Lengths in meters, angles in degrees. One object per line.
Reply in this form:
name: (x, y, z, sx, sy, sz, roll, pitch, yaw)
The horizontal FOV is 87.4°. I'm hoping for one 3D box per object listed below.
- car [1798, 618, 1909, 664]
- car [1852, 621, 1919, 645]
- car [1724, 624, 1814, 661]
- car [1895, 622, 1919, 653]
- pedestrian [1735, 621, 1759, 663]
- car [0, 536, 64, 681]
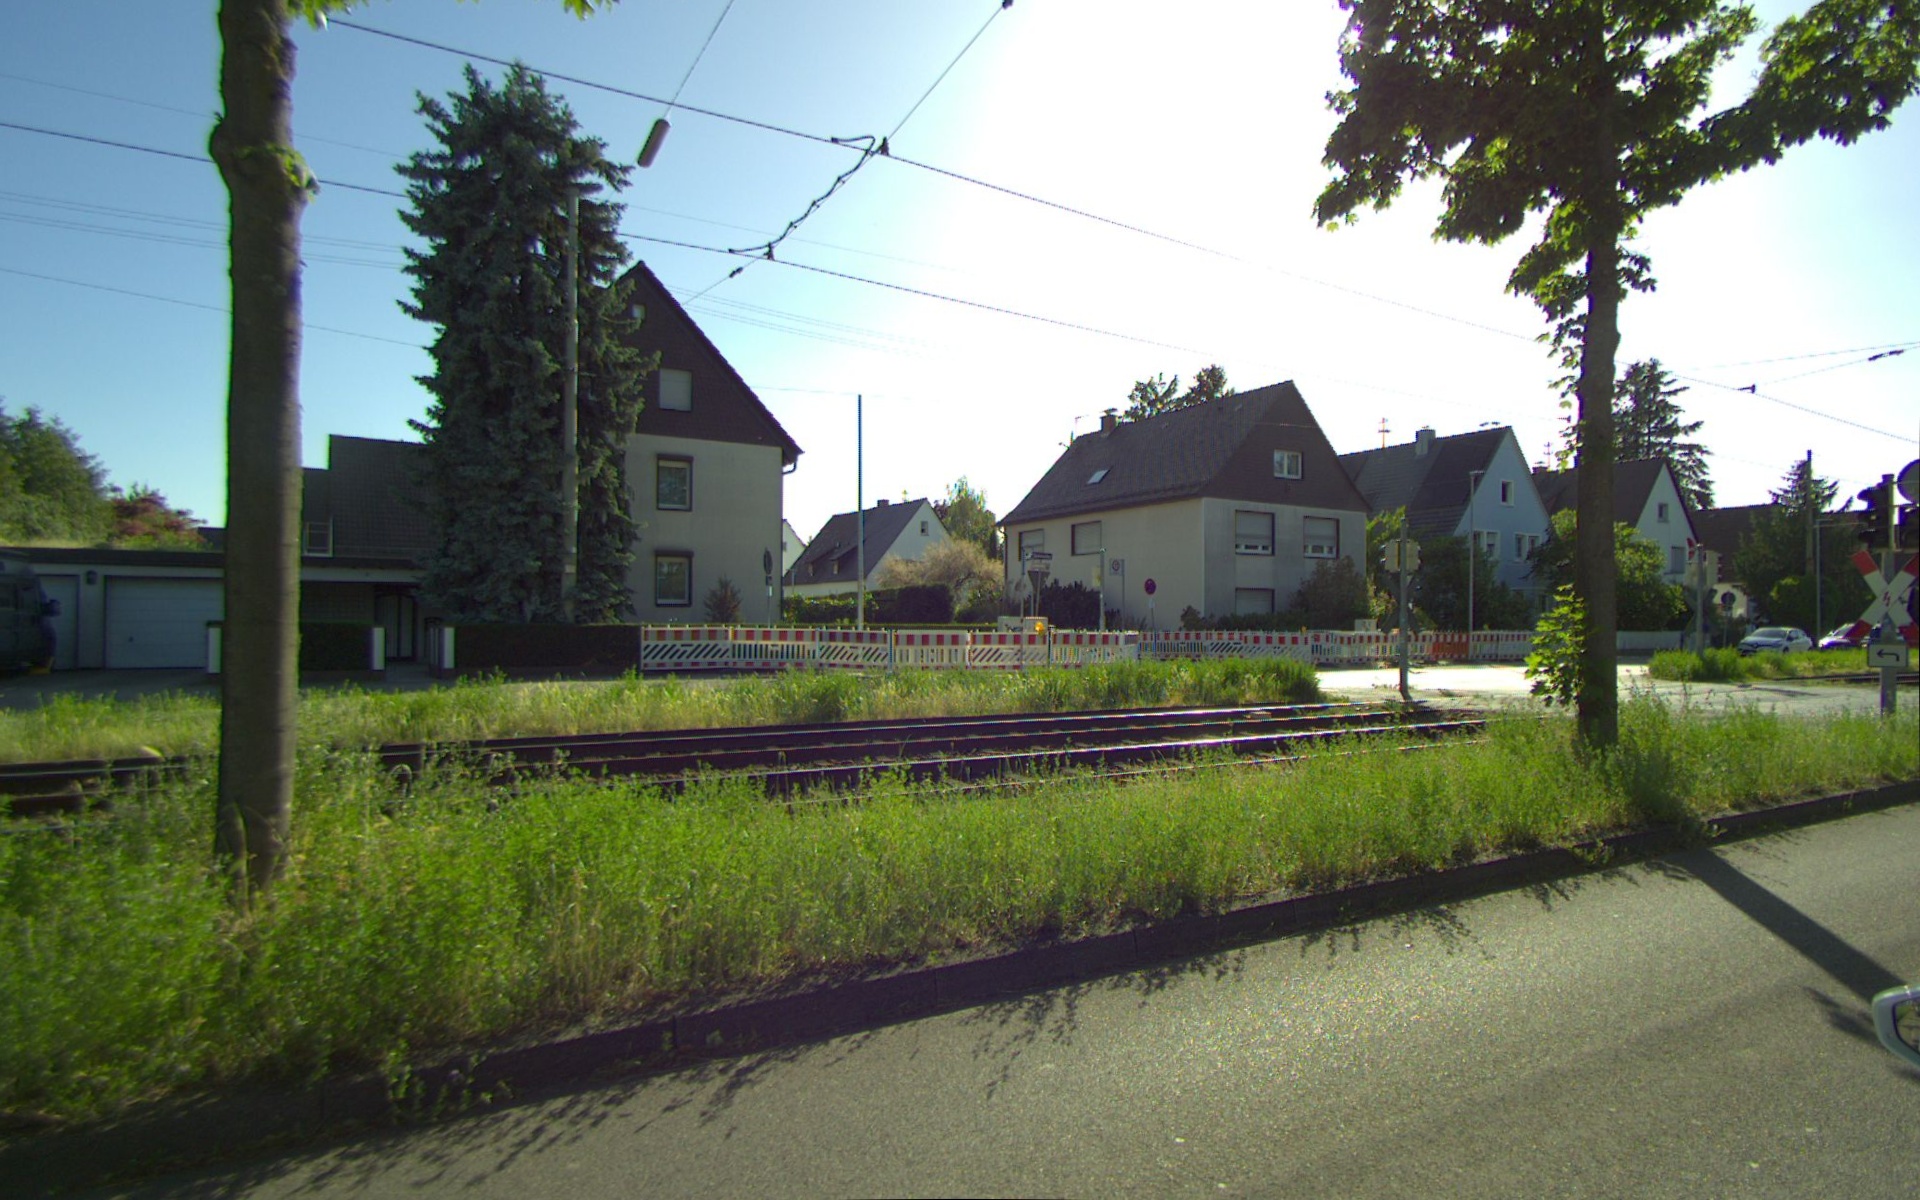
car: (34.727, 1.580, 39.025, 4.421, 1.625, 1.984, 1, 0, -31)
car: (63.138, 2.218, 67.890, 1.866, 1.472, 3.900, -1, 1, -29)
car: (36.826, 1.930, 45.699, 4.179, 1.562, 1.851, 1, 0, -31)
car: (53.850, 2.088, 55.666, 4.502, 1.673, 1.739, 1, 0, -31)
pedestrian: (39.176, 2.093, 49.987, 0.763, 2.040, 0.677, 1, 0, -30)
car: (-19.202, 0.159, 19.172, 2.077, 2.660, 5.006, 0, 0, -29)
